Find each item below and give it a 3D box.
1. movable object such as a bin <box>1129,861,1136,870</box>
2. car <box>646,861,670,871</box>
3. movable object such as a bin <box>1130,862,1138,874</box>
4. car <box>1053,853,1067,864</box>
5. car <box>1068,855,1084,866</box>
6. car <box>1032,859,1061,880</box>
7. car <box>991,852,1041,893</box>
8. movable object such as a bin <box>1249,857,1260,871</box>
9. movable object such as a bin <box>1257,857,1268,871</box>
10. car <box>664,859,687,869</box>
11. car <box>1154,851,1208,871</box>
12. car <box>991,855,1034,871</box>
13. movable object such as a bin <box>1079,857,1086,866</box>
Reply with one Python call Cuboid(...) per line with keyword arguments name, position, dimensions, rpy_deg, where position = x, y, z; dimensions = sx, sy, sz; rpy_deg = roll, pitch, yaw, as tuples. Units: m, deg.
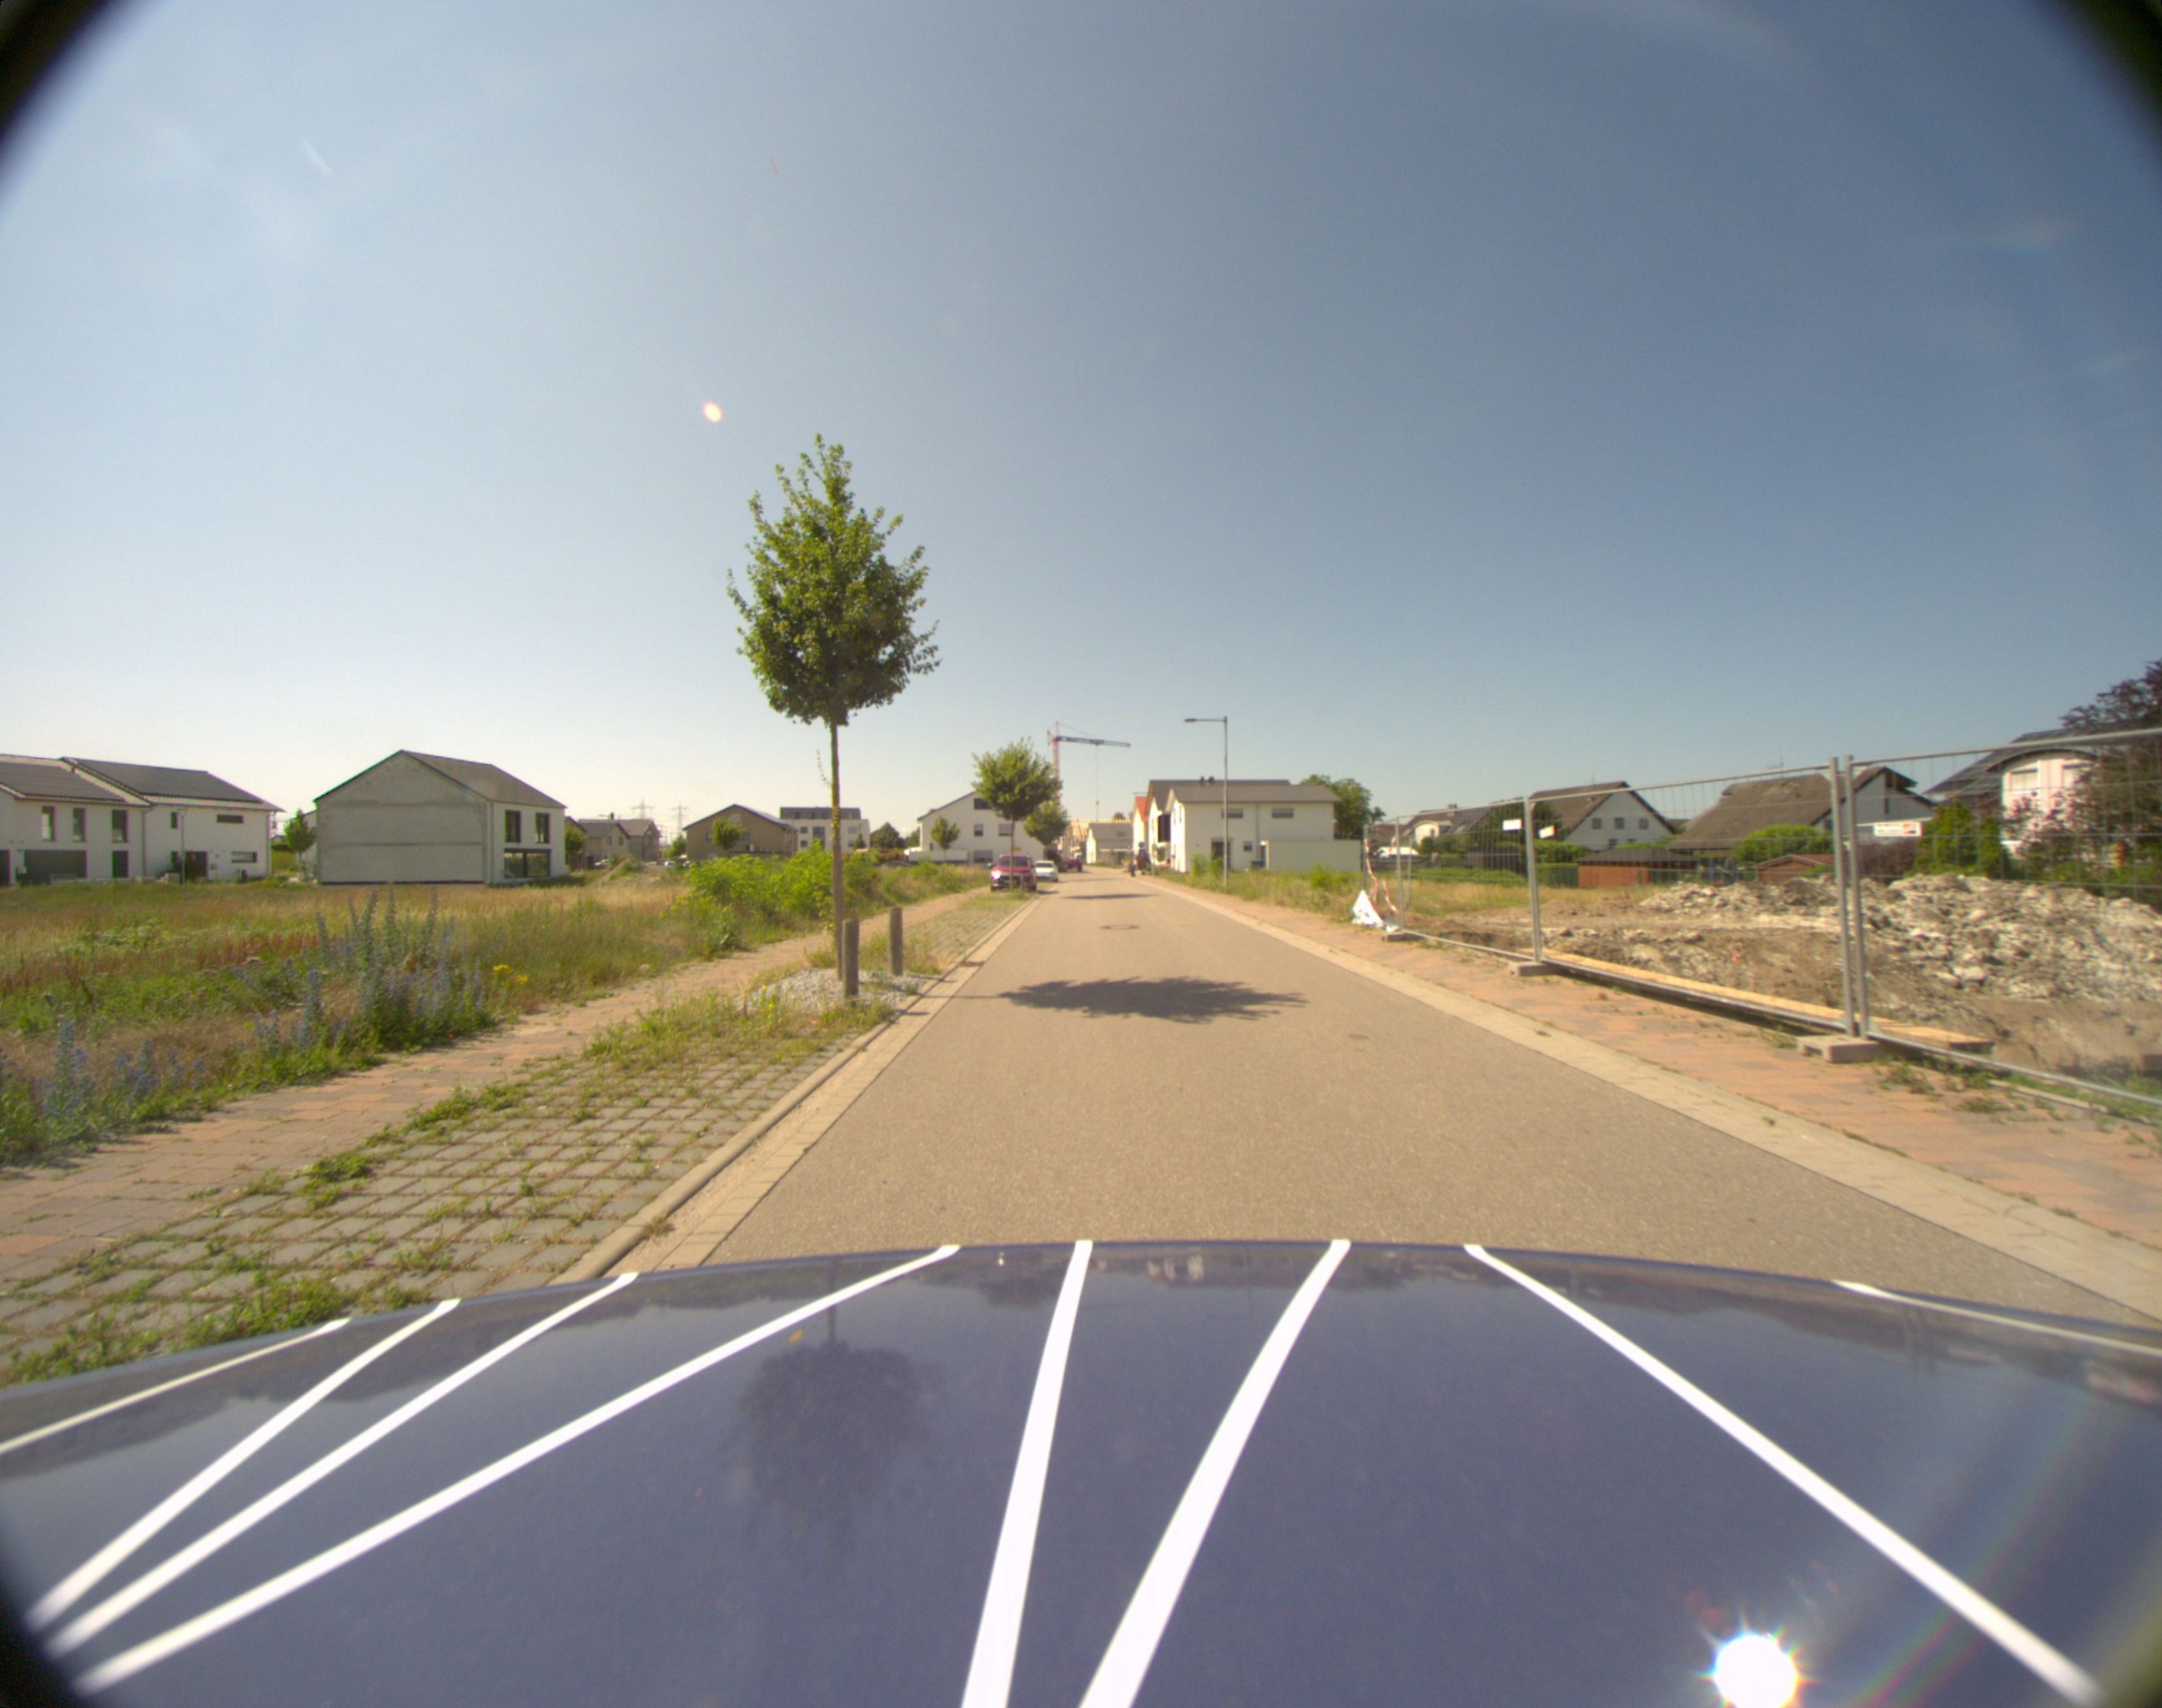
Cuboid(name="movable object such as a bin", position=(5.347, 1.166, 79.244), dimensions=(0.618, 0.931, 0.564), rpy_deg=(-1, 0, -4))
Cuboid(name="car", position=(-59.849, 1.666, 107.477), dimensions=(1.667, 1.392, 3.917), rpy_deg=(0, 0, -8))
Cuboid(name="movable object such as a bin", position=(4.333, 1.155, 62.393), dimensions=(0.625, 0.943, 0.500), rpy_deg=(-1, 1, -4))
Cuboid(name="car", position=(-3.470, 0.747, 126.493), dimensions=(1.804, 1.609, 3.672), rpy_deg=(-1, 1, -10))
Cuboid(name="car", position=(-0.708, 0.910, 107.031), dimensions=(1.911, 1.470, 3.998), rpy_deg=(-1, 1, -4))
Cuboid(name="car", position=(-2.398, 1.057, 53.505), dimensions=(1.779, 1.411, 4.166), rpy_deg=(1, 0, 1))
Cuboid(name="car", position=(-2.781, 0.773, 33.374), dimensions=(1.781, 1.653, 4.434), rpy_deg=(1, 0, 0))
Cuboid(name="movable object such as a bin", position=(13.123, 0.756, 57.552), dimensions=(0.661, 1.092, 0.785), rpy_deg=(0, 1, 0))
Cuboid(name="movable object such as a bin", position=(13.751, 0.746, 57.676), dimensions=(0.671, 1.092, 0.808), rpy_deg=(0, 1, 1))
Cuboid(name="car", position=(-60.739, 1.447, 113.798), dimensions=(1.750, 1.493, 3.997), rpy_deg=(0, 0, -8))
Cuboid(name="car", position=(9.235, 0.623, 70.559), dimensions=(4.749, 1.864, 1.938), rpy_deg=(0, 0, -2))
Cuboid(name="car", position=(-7.137, 0.964, 79.448), dimensions=(4.348, 1.549, 1.960), rpy_deg=(-1, 0, -2))
Cuboid(name="movable object such as a bin", position=(0.149, 0.882, 88.811), dimensions=(0.823, 1.058, 0.589), rpy_deg=(-1, 1, -4))
